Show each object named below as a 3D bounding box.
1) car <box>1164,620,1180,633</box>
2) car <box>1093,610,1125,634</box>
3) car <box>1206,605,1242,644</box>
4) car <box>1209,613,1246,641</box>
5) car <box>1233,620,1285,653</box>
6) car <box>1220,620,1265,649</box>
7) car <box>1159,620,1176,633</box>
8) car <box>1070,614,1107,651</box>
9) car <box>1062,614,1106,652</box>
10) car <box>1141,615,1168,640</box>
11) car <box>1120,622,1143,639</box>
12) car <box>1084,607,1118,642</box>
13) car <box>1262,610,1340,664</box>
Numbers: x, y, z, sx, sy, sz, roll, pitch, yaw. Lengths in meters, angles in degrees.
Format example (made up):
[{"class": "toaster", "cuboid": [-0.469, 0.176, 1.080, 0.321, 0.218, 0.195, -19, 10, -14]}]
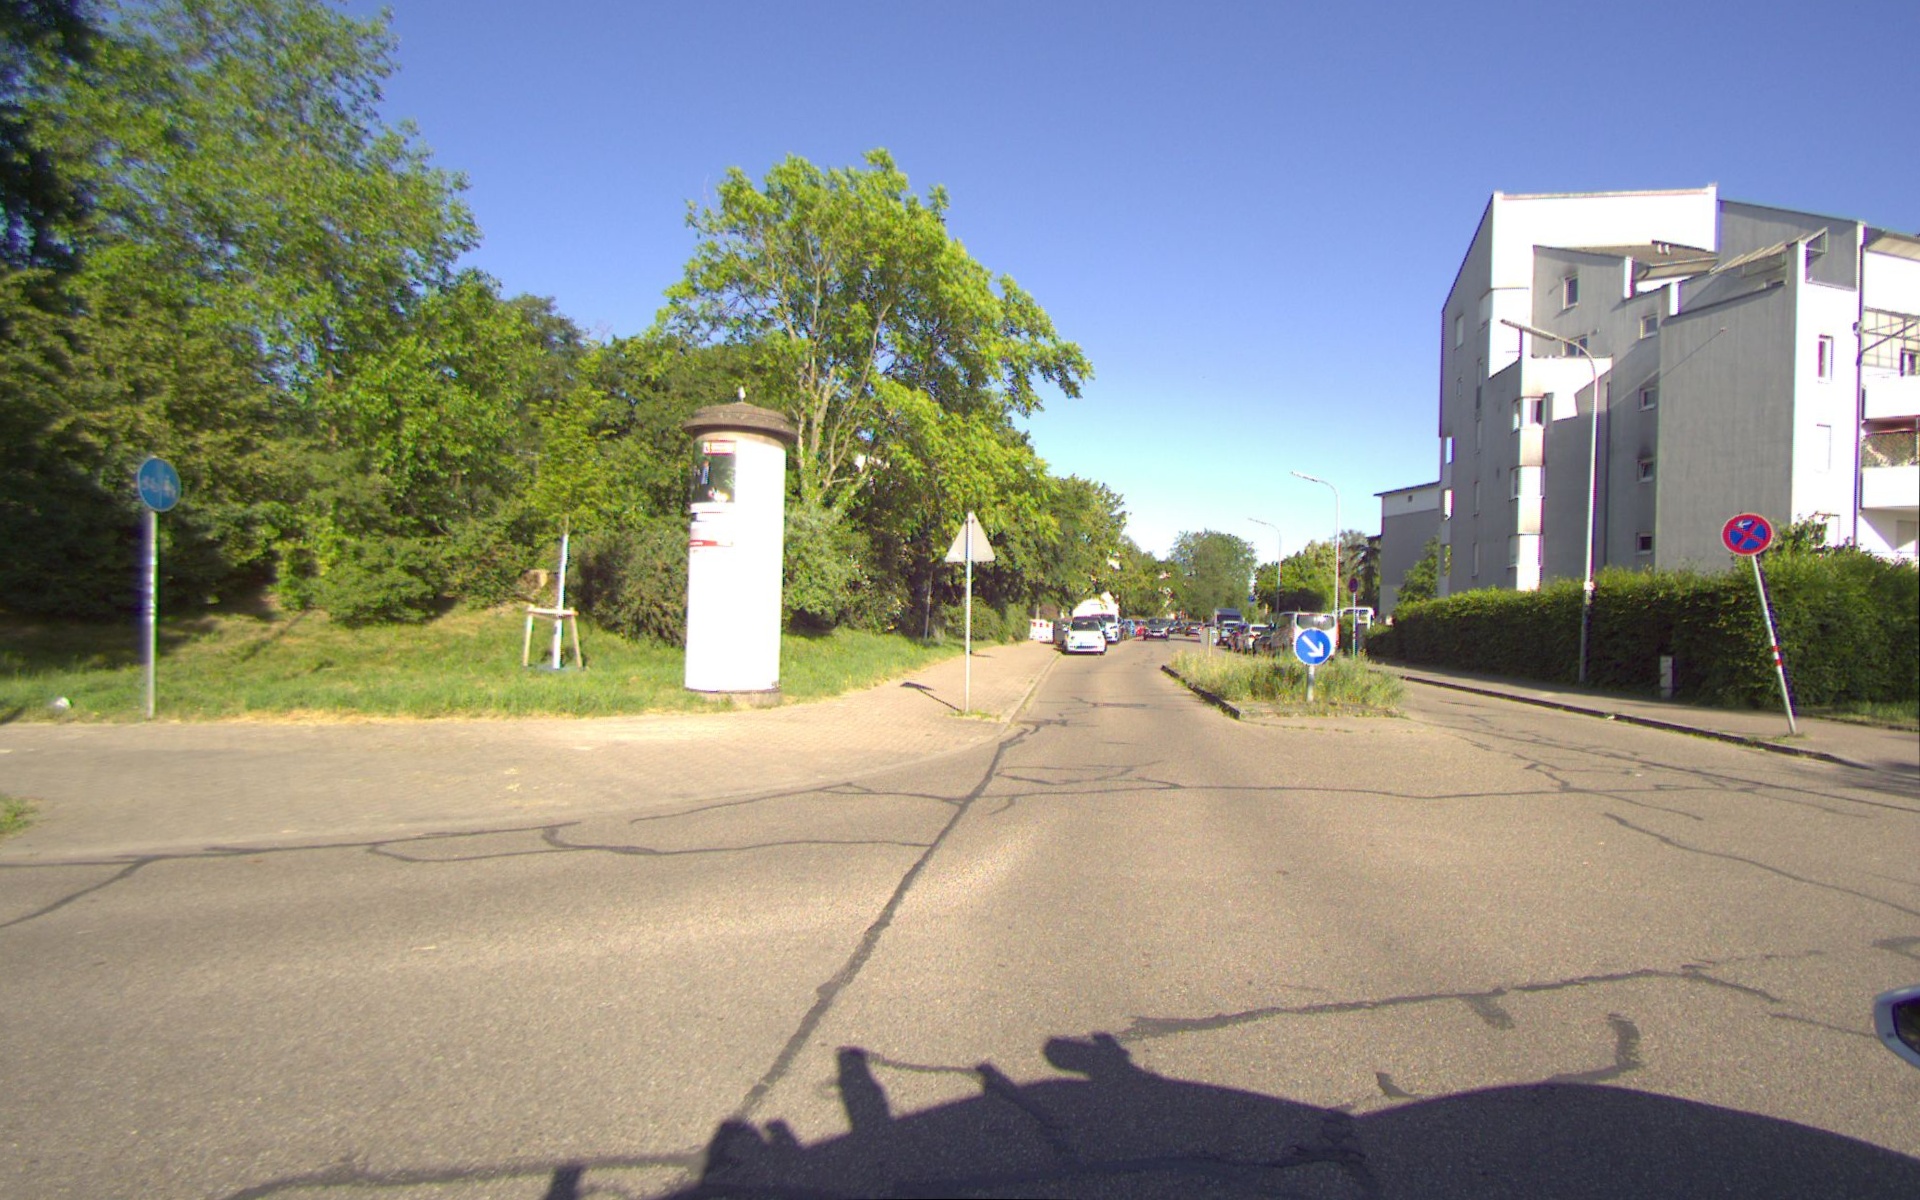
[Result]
[{"class": "car", "cuboid": [25.011, 3.133, 118.372, 1.632, 1.445, 3.817, 0, -1, 15]}, {"class": "car", "cuboid": [10.706, 1.554, 71.993, 1.718, 1.639, 4.365, 1, -1, 15]}, {"class": "car", "cuboid": [18.423, 1.713, 70.329, 2.069, 2.519, 5.860, 3, -1, 12]}, {"class": "car", "cuboid": [17.209, 1.712, 64.759, 1.877, 1.688, 4.378, 1, -1, 9]}, {"class": "car", "cuboid": [14.832, 1.767, 50.017, 1.877, 1.508, 4.378, 1, -1, 9]}, {"class": "car", "cuboid": [15.593, 1.888, 55.598, 1.877, 1.508, 4.378, 1, -1, 9]}, {"class": "car", "cuboid": [23.454, 3.003, 113.640, 1.632, 1.445, 4.051, 0, -1, 15]}, {"class": "car", "cuboid": [6.135, 1.523, 47.771, 1.646, 1.660, 4.253, 0, -1, 9]}, {"class": "car", "cuboid": [5.251, 1.377, 42.913, 1.598, 1.548, 3.421, 1, -1, 3]}, {"class": "car", "cuboid": [13.898, 1.975, 71.869, 1.880, 1.728, 4.188, 0, -1, 10]}, {"class": "car", "cuboid": [15.541, 2.761, 90.897, 1.642, 1.493, 3.680, 0, -1, 15]}, {"class": "car", "cuboid": [8.533, 1.460, 60.499, 1.831, 1.987, 4.674, 1, -1, 10]}, {"class": "car", "cuboid": [13.394, 1.418, 39.747, 1.959, 1.937, 4.957, 1, -1, 7]}]
